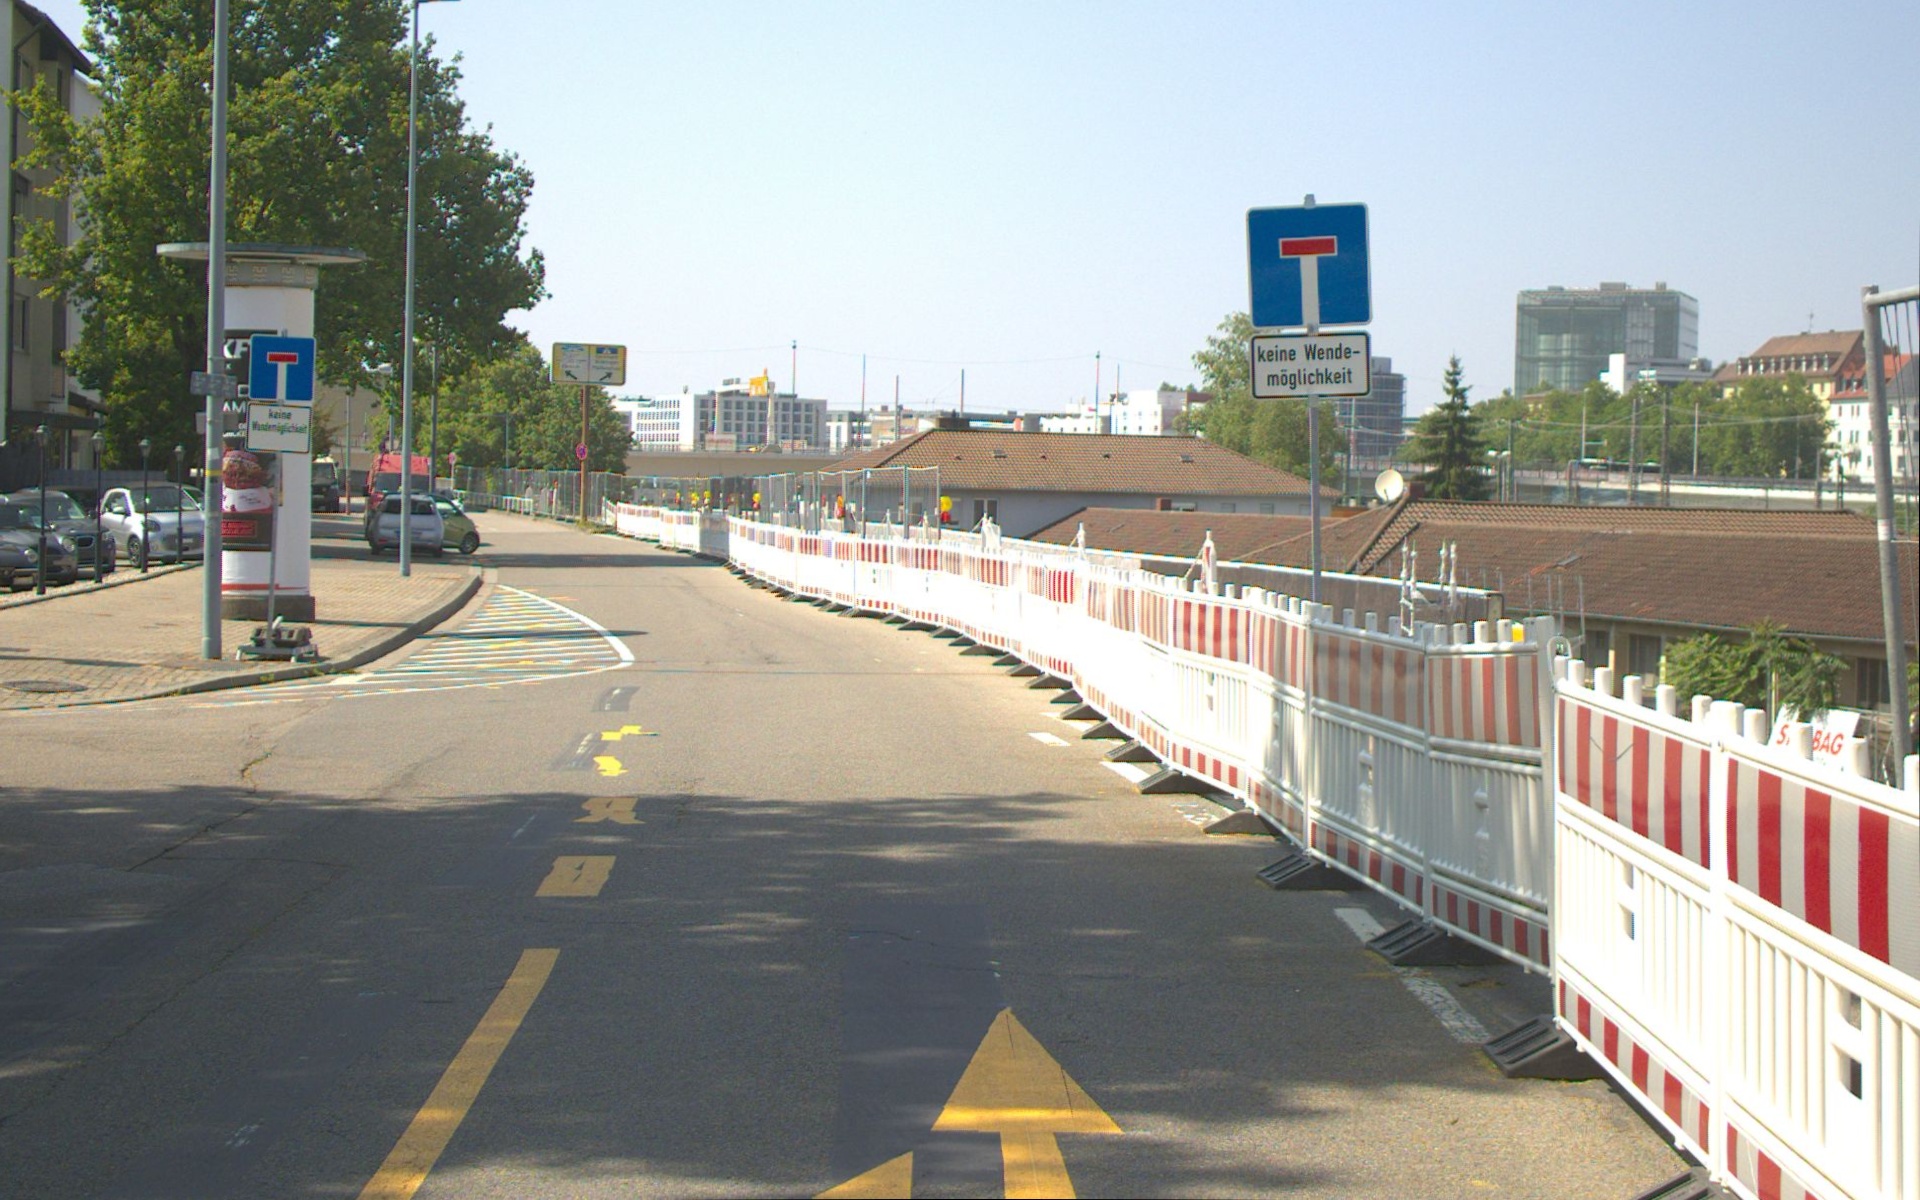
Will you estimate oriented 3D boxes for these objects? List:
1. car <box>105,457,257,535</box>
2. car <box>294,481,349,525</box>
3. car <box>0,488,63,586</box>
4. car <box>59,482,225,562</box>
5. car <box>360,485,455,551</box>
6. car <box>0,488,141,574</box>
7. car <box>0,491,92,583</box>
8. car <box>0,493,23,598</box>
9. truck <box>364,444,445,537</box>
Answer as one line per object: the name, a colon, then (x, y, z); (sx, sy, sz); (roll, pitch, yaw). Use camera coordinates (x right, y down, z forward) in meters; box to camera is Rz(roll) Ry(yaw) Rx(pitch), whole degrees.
car: (-21.217, -2.845, 93.640); (3.921, 1.952, 1.760); (2, 1, -14)
car: (-29.316, -4.431, 157.863); (1.936, 1.828, 3.925); (4, 1, -4)
car: (-15.681, -0.989, 53.985); (1.667, 1.468, 3.999); (-3, 3, -37)
car: (-15.857, -1.520, 66.554); (1.776, 1.468, 4.000); (-3, 3, -34)
car: (-13.214, -1.981, 82.408); (1.869, 1.493, 4.032); (0, 3, -3)
car: (-16.573, -1.274, 63.044); (1.667, 1.468, 4.000); (-3, 3, -34)
car: (-16.299, -1.093, 58.489); (1.667, 1.468, 4.000); (-3, 3, -34)
car: (-15.085, -0.773, 49.811); (1.780, 1.468, 4.000); (-3, 3, -32)
truck: (-16.395, -3.210, 101.593); (2.237, 2.639, 5.683); (1, 1, -8)
